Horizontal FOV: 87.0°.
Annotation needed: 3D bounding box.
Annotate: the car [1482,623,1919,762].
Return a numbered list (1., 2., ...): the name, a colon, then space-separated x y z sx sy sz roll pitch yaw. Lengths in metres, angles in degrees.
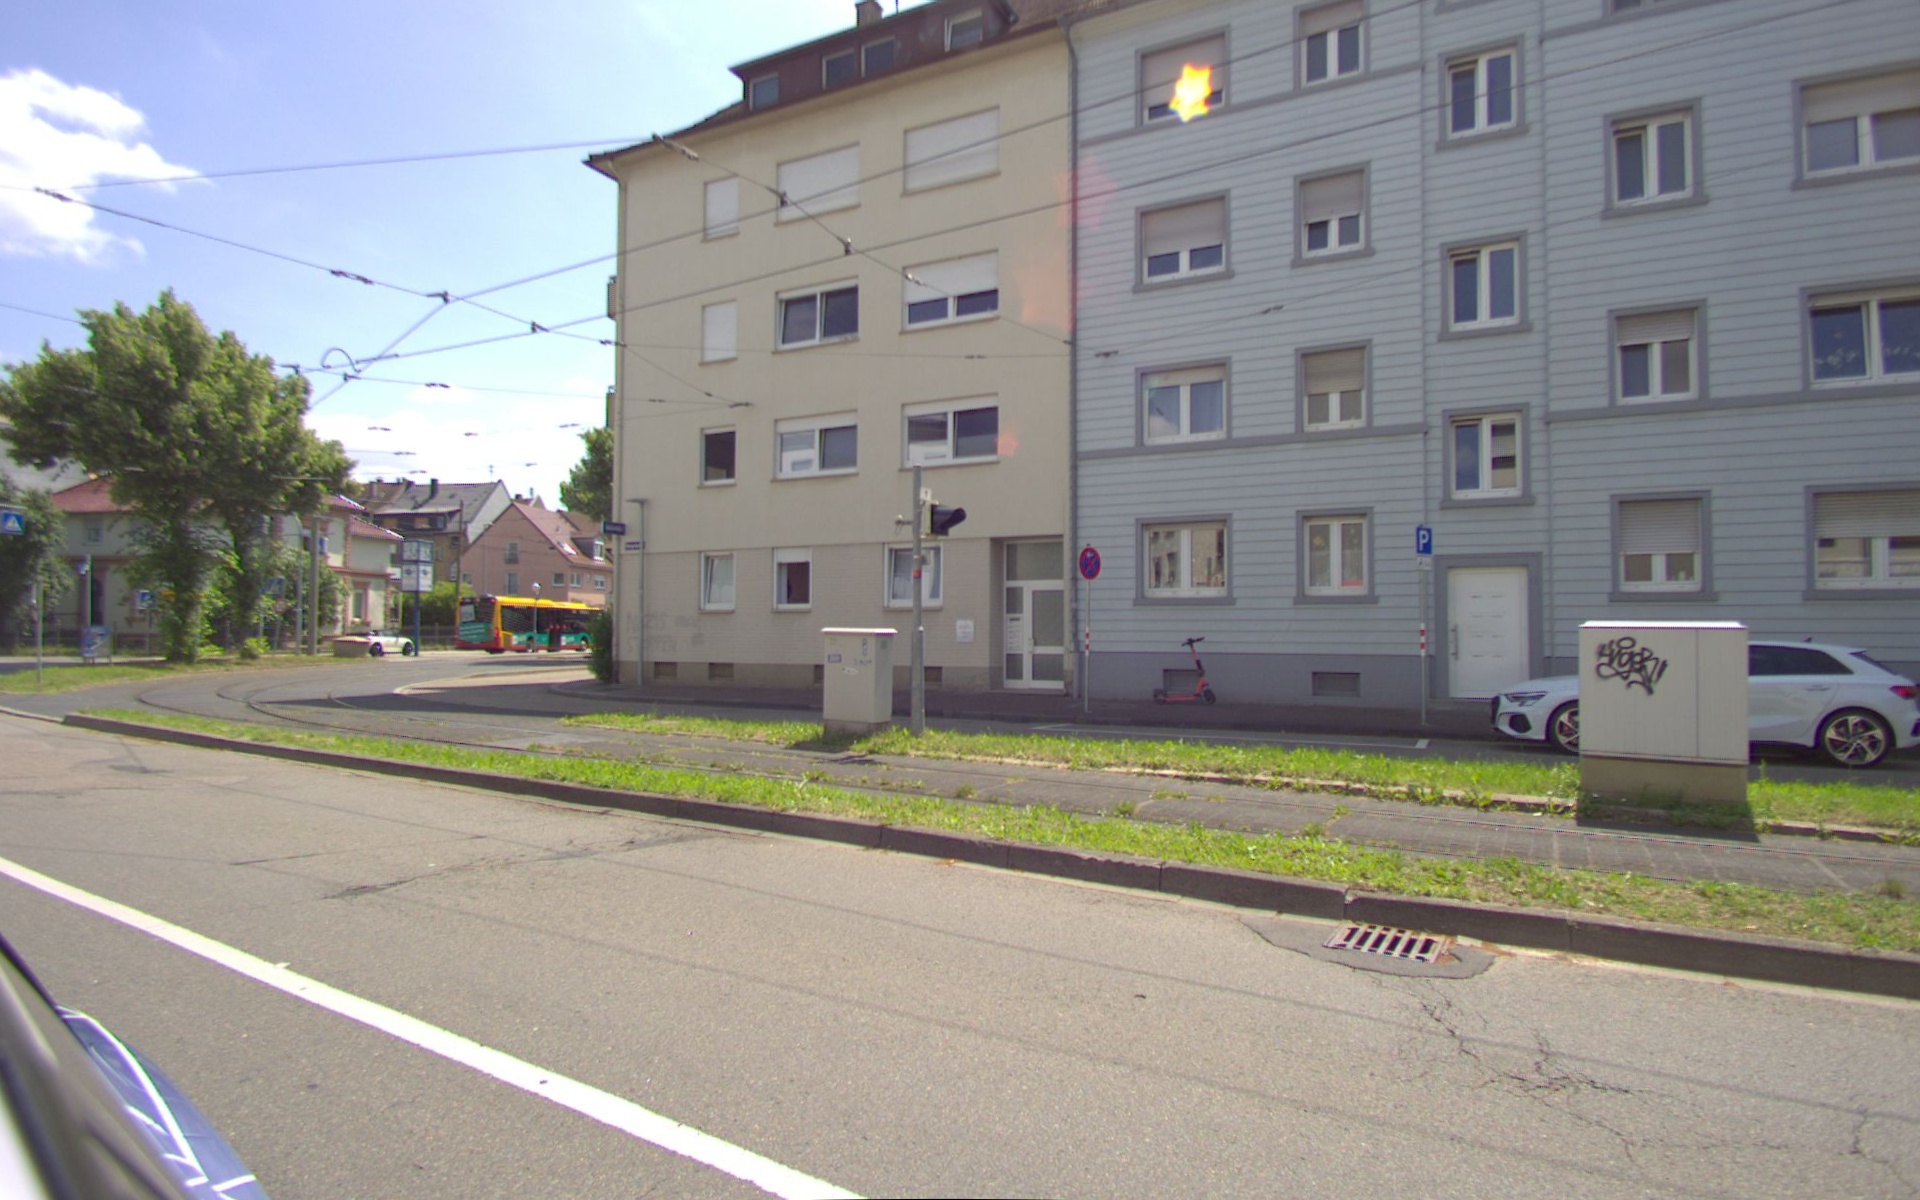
1. car: 8.899 1.068 12.361 4.351 1.462 1.917 -1 -4 25

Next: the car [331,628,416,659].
1. car: -29.910 2.232 51.763 1.760 1.475 3.734 -2 -2 11

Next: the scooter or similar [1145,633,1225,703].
1. scooter or similar: 4.120 1.222 18.558 1.314 1.232 0.634 -1 -1 27

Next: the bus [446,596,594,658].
1. bus: -25.575 1.637 59.660 2.677 3.322 10.828 -1 -2 9
